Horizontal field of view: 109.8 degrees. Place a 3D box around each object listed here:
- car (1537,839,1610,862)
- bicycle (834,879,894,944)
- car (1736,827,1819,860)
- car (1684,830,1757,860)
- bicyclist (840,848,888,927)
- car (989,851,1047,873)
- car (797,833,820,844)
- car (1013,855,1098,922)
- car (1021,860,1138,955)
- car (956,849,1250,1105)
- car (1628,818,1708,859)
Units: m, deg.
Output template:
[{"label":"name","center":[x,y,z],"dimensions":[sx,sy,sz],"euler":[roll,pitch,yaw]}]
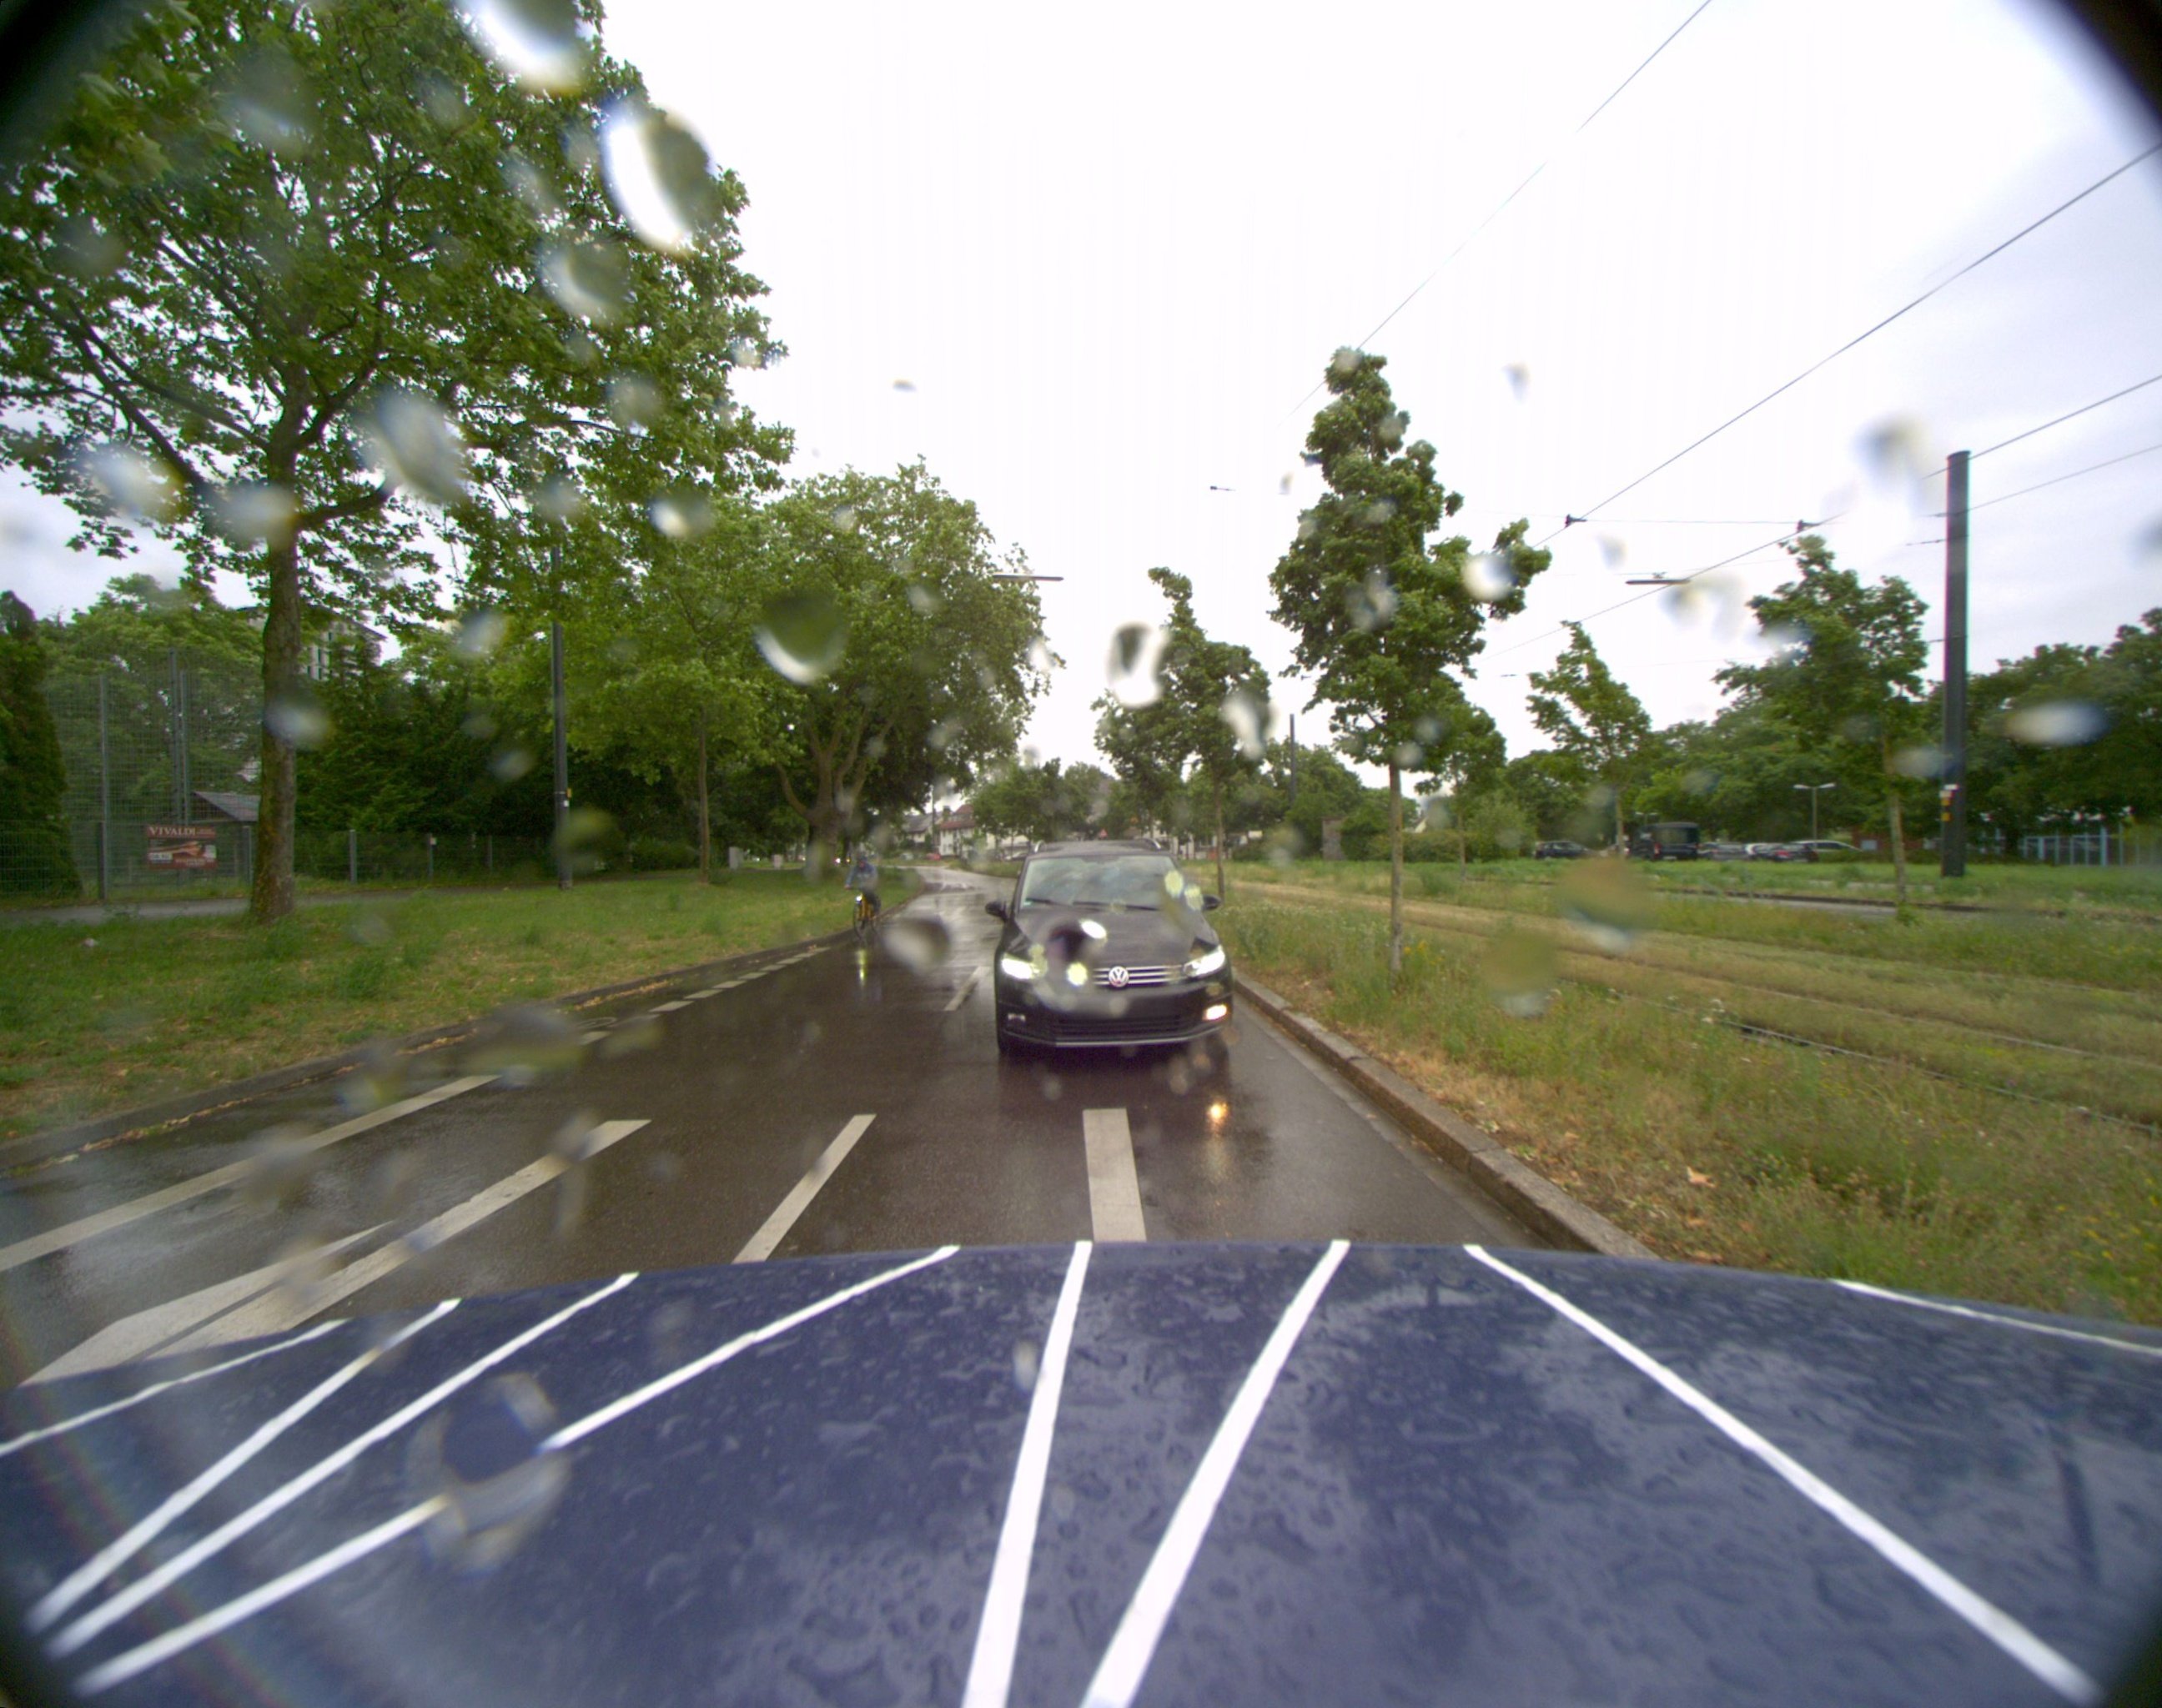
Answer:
[{"label":"car","center":[34.793,-0.268,53.833],"dimensions":[4.172,1.474,1.786],"euler":[-2,1,27]},{"label":"bicycle","center":[-4.325,1.116,15.256],"dimensions":[0.692,1.110,1.884],"euler":[-2,1,-3]},{"label":"car","center":[36.603,-0.580,40.096],"dimensions":[2.057,1.563,5.024],"euler":[-2,1,29]},{"label":"car","center":[34.637,-0.519,41.286],"dimensions":[1.752,1.522,4.856],"euler":[-2,1,24]},{"label":"bicyclist","center":[-4.338,0.649,15.239],"dimensions":[0.692,1.497,0.844],"euler":[-2,2,-3]},{"label":"car","center":[-4.655,0.580,55.570],"dimensions":[4.046,1.412,1.674],"euler":[-2,1,-10]},{"label":"car","center":[-51.610,-2.944,143.853],"dimensions":[4.004,1.816,1.996],"euler":[-3,1,-24]},{"label":"car","center":[-0.729,0.781,18.995],"dimensions":[1.789,1.396,3.791],"euler":[-2,1,-6]},{"label":"car","center":[-0.094,0.848,13.941],"dimensions":[1.788,1.355,3.996],"euler":[-2,1,-2]},{"label":"car","center":[0.171,0.790,7.224],"dimensions":[1.866,1.592,4.524],"euler":[-2,1,1]},{"label":"car","center":[31.997,-0.862,41.603],"dimensions":[2.307,2.002,5.125],"euler":[-2,1,24]}]
